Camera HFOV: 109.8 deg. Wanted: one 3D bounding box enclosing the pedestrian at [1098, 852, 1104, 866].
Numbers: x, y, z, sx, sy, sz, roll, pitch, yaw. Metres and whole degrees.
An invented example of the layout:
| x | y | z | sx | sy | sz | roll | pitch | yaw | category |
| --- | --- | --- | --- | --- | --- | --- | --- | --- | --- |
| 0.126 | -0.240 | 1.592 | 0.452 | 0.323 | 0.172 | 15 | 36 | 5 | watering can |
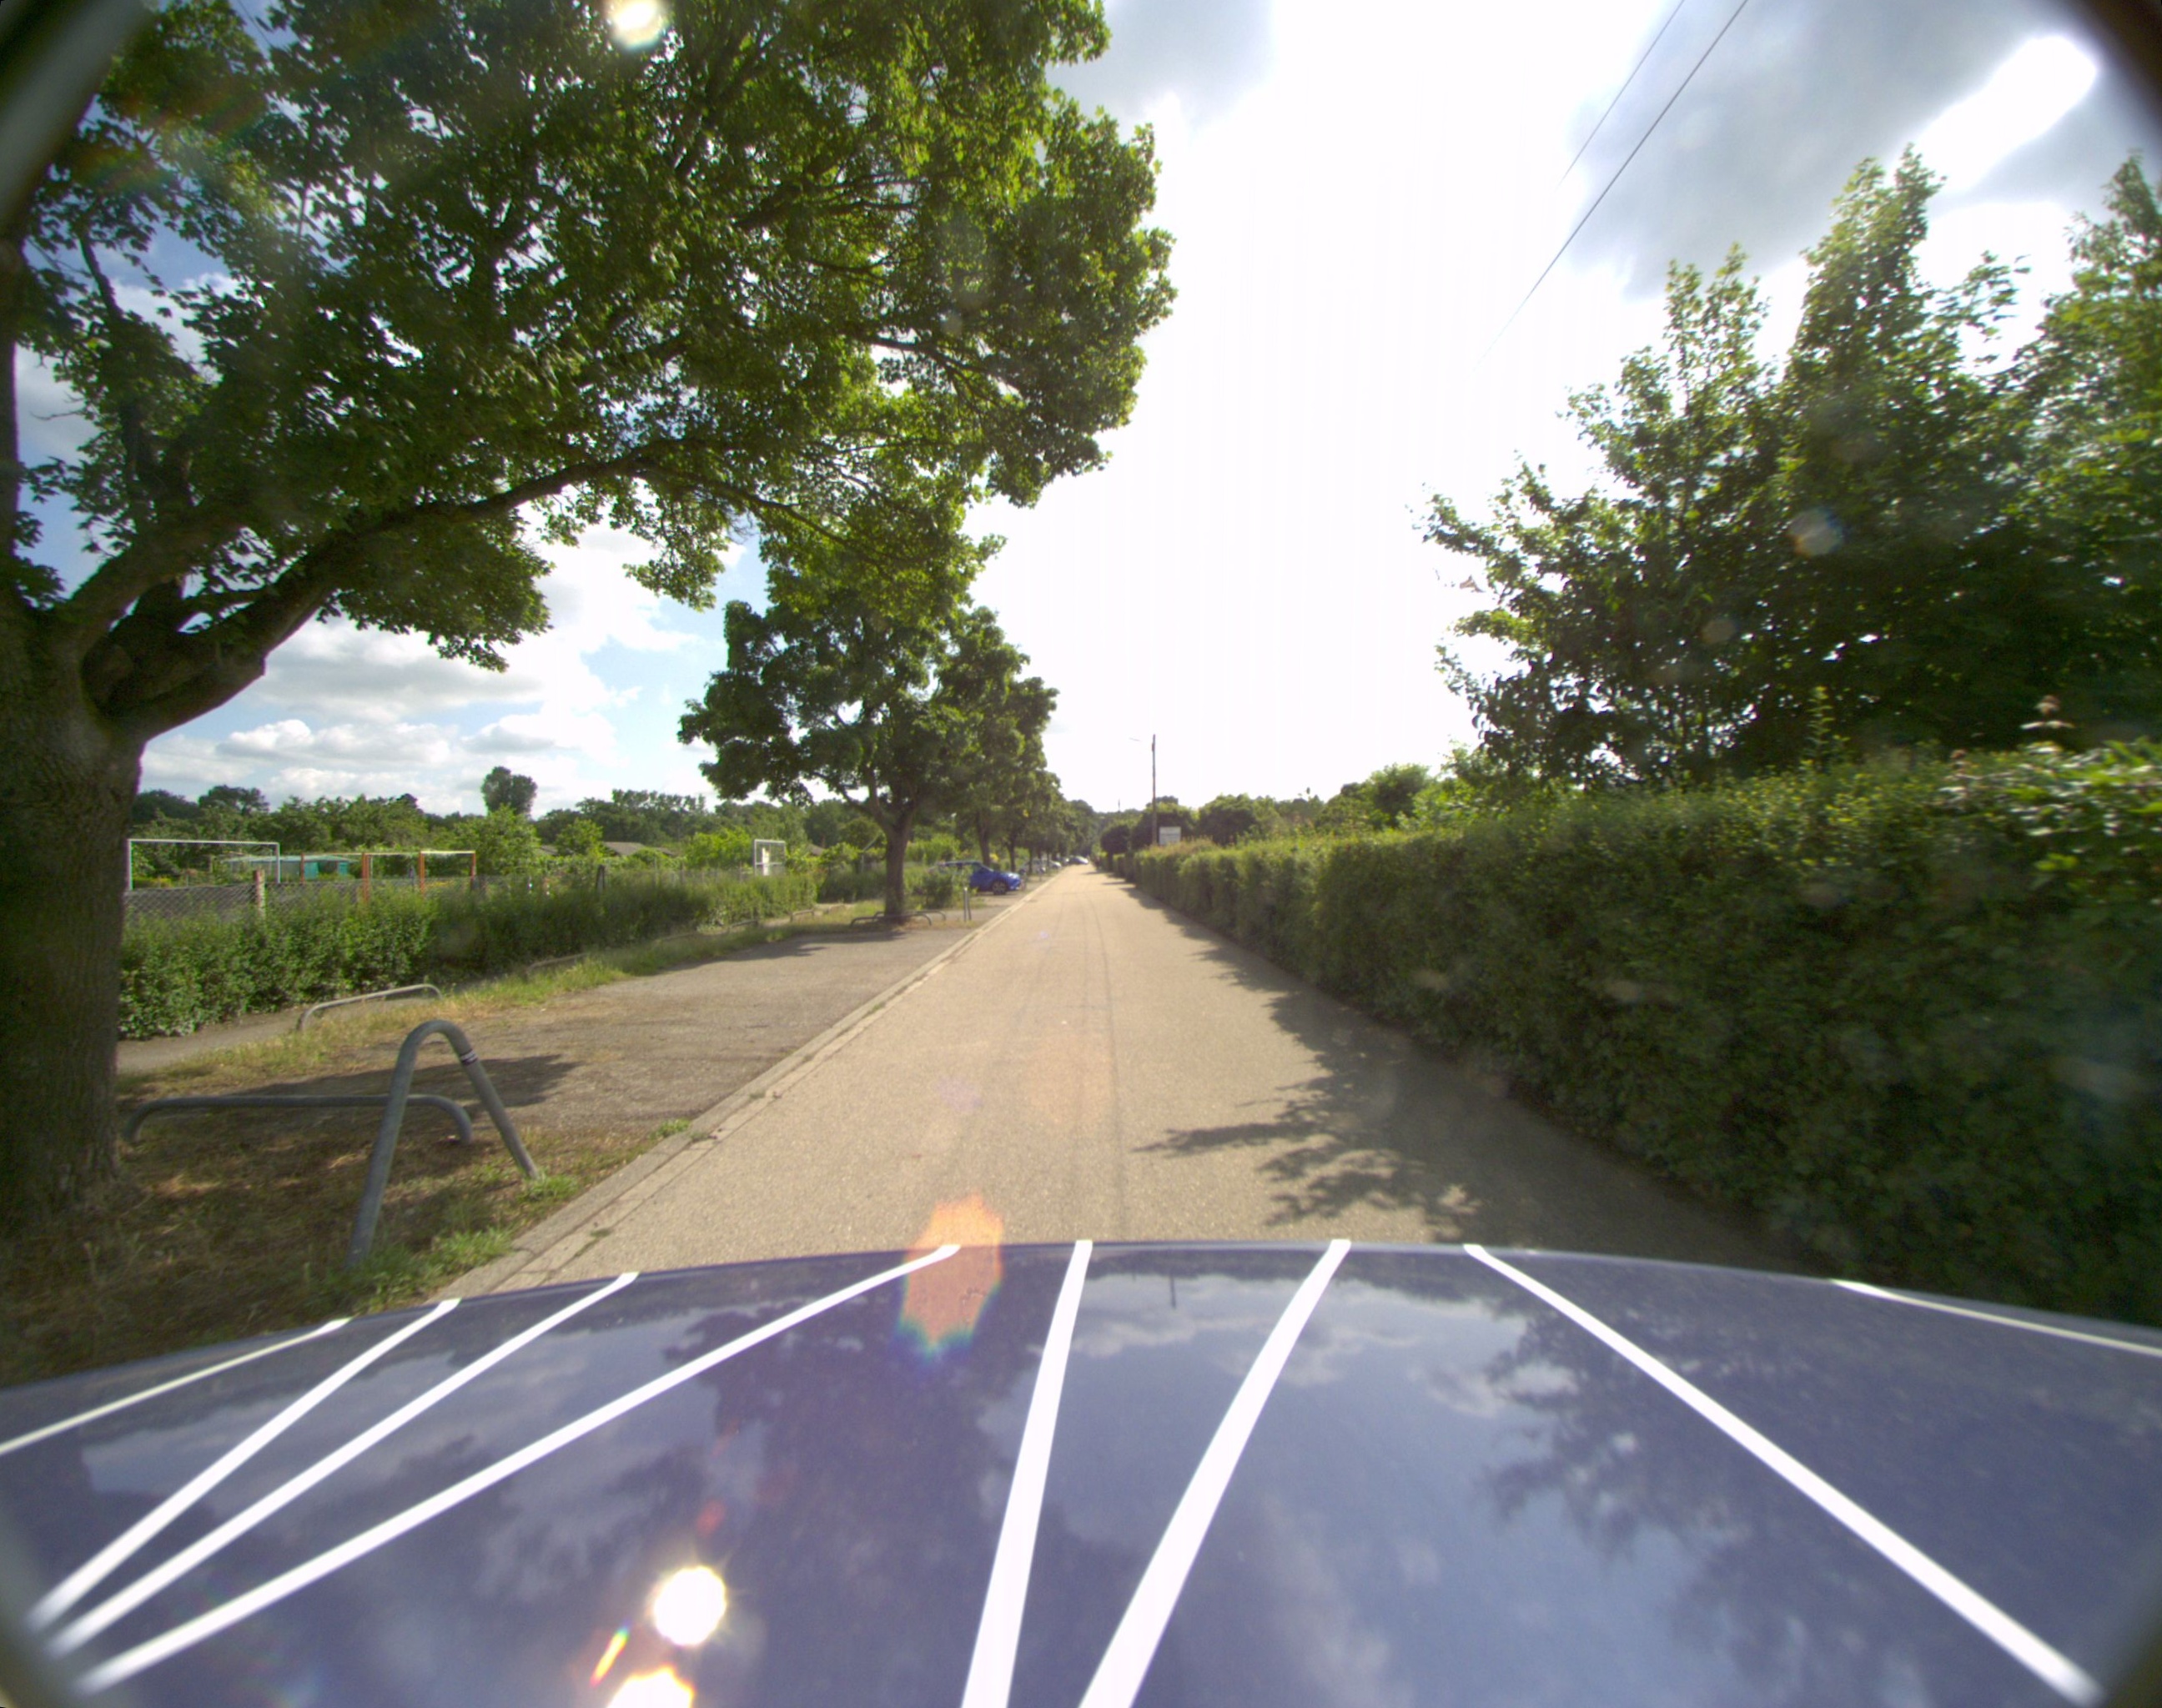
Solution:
| x | y | z | sx | sy | sz | roll | pitch | yaw | category |
| --- | --- | --- | --- | --- | --- | --- | --- | --- | --- |
| 2.412 | 0.605 | 92.466 | 0.701 | 1.701 | 0.788 | -2 | 1 | 0 | pedestrian |

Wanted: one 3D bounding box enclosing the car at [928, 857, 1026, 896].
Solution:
| x | y | z | sx | sy | sz | roll | pitch | yaw | category |
| --- | --- | --- | --- | --- | --- | --- | --- | --- | --- |
| -4.545 | 0.979 | 33.774 | 4.116 | 1.573 | 1.780 | -1 | 0 | -1 | car |

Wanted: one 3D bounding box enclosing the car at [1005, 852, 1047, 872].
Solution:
| x | y | z | sx | sy | sz | roll | pitch | yaw | category |
| --- | --- | --- | --- | --- | --- | --- | --- | --- | --- |
| -5.310 | 0.798 | 73.759 | 3.929 | 1.740 | 2.000 | -2 | 1 | 0 | car |

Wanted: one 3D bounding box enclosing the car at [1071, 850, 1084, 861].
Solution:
| x | y | z | sx | sy | sz | roll | pitch | yaw | category |
| --- | --- | --- | --- | --- | --- | --- | --- | --- | --- |
| -0.622 | 0.201 | 132.245 | 1.998 | 1.740 | 3.932 | -2 | 1 | 2 | car |

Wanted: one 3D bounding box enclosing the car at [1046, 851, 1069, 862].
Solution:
| x | y | z | sx | sy | sz | roll | pitch | yaw | category |
| --- | --- | --- | --- | --- | --- | --- | --- | --- | --- |
| -4.074 | 0.418 | 130.905 | 3.998 | 1.824 | 1.999 | -2 | 1 | -3 | car |

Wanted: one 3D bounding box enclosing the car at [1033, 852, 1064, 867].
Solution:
| x | y | z | sx | sy | sz | roll | pitch | yaw | category |
| --- | --- | --- | --- | --- | --- | --- | --- | --- | --- |
| -4.356 | 0.723 | 102.369 | 3.929 | 1.740 | 2.000 | -2 | 1 | 0 | car |
